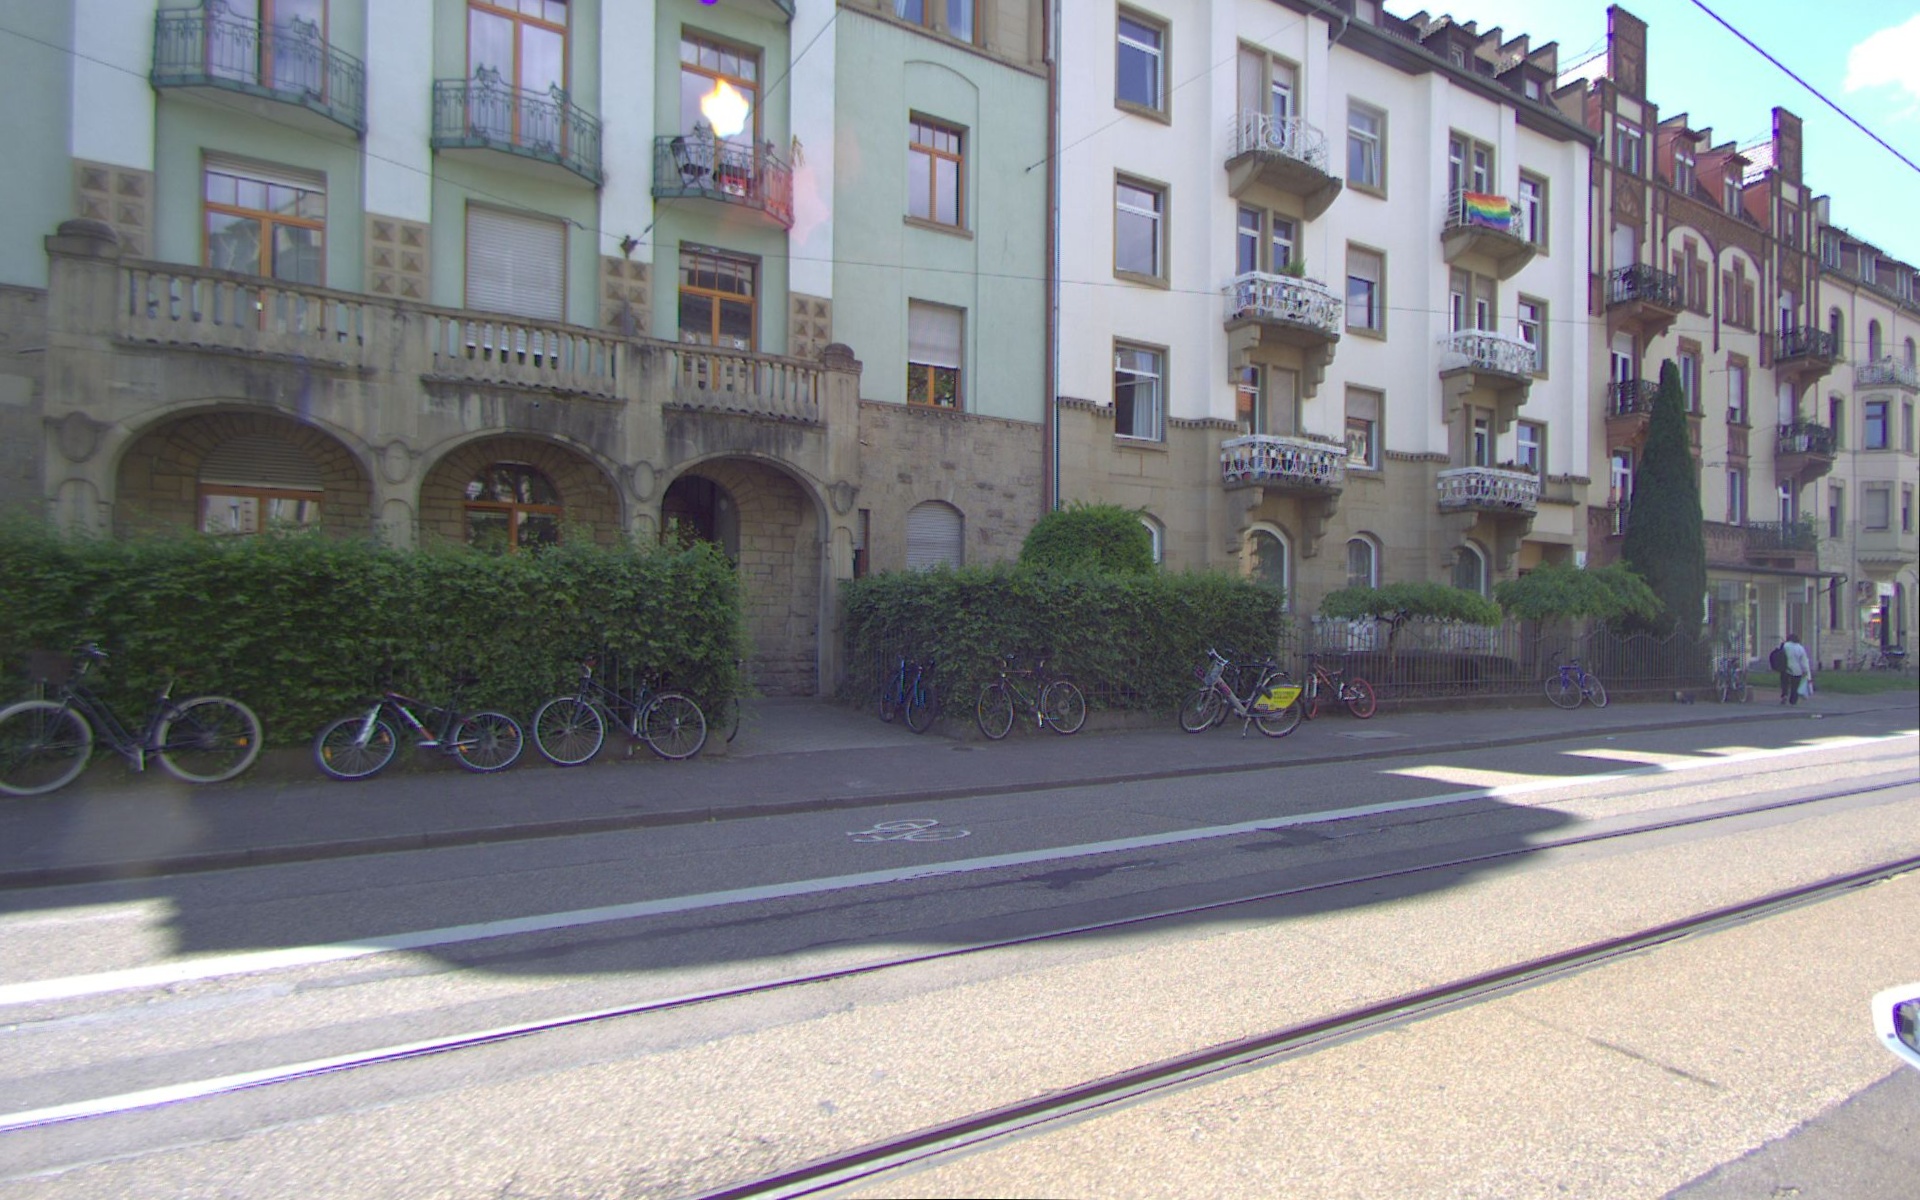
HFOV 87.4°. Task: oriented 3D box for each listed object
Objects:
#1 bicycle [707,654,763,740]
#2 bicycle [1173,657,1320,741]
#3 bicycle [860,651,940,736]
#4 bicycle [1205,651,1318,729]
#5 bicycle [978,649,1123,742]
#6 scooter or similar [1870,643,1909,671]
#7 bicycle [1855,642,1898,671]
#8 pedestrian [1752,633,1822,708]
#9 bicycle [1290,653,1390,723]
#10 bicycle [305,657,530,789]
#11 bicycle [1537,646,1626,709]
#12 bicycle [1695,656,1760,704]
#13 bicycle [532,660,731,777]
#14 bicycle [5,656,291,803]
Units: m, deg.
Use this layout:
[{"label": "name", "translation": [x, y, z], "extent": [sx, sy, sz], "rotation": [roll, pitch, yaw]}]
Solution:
[{"label": "bicycle", "translation": [-2.637, 1.104, 11.710], "extent": [0.335, 0.920, 1.200], "rotation": [1, -1, -27]}, {"label": "bicycle", "translation": [3.675, 1.259, 12.986], "extent": [1.739, 1.012, 0.610], "rotation": [0, -1, 6]}, {"label": "bicycle", "translation": [-0.809, 1.199, 13.175], "extent": [0.387, 0.941, 1.565], "rotation": [1, 1, -29]}, {"label": "bicycle", "translation": [4.281, 1.256, 14.223], "extent": [1.688, 1.013, 0.462], "rotation": [1, 2, -30]}, {"label": "bicycle", "translation": [1.142, 1.163, 12.589], "extent": [1.750, 1.046, 0.605], "rotation": [1, 2, -30]}, {"label": "scooter or similar", "translation": [37.340, 2.280, 40.361], "extent": [0.682, 1.058, 1.210], "rotation": [2, 0, 20]}, {"label": "bicycle", "translation": [35.781, 2.200, 39.206], "extent": [1.437, 1.080, 0.371], "rotation": [2, -1, -7]}, {"label": "pedestrian", "translation": [17.896, 1.507, 21.748], "extent": [0.973, 1.563, 0.896], "rotation": [1, -1, -30]}, {"label": "bicycle", "translation": [5.802, 1.320, 15.321], "extent": [1.705, 0.979, 0.411], "rotation": [1, 2, -30]}, {"label": "bicycle", "translation": [-4.780, 1.049, 8.922], "extent": [1.688, 1.002, 0.604], "rotation": [1, 2, -31]}, {"label": "bicycle", "translation": [11.621, 1.432, 18.781], "extent": [1.750, 1.079, 0.605], "rotation": [1, 2, -30]}, {"label": "bicycle", "translation": [16.624, 1.729, 21.747], "extent": [1.820, 0.973, 0.408], "rotation": [3, 1, -30]}, {"label": "bicycle", "translation": [-3.190, 1.115, 9.810], "extent": [1.750, 0.989, 0.605], "rotation": [1, 2, -30]}, {"label": "bicycle", "translation": [-6.383, 0.987, 8.018], "extent": [1.688, 1.002, 0.604], "rotation": [1, 2, -31]}]
